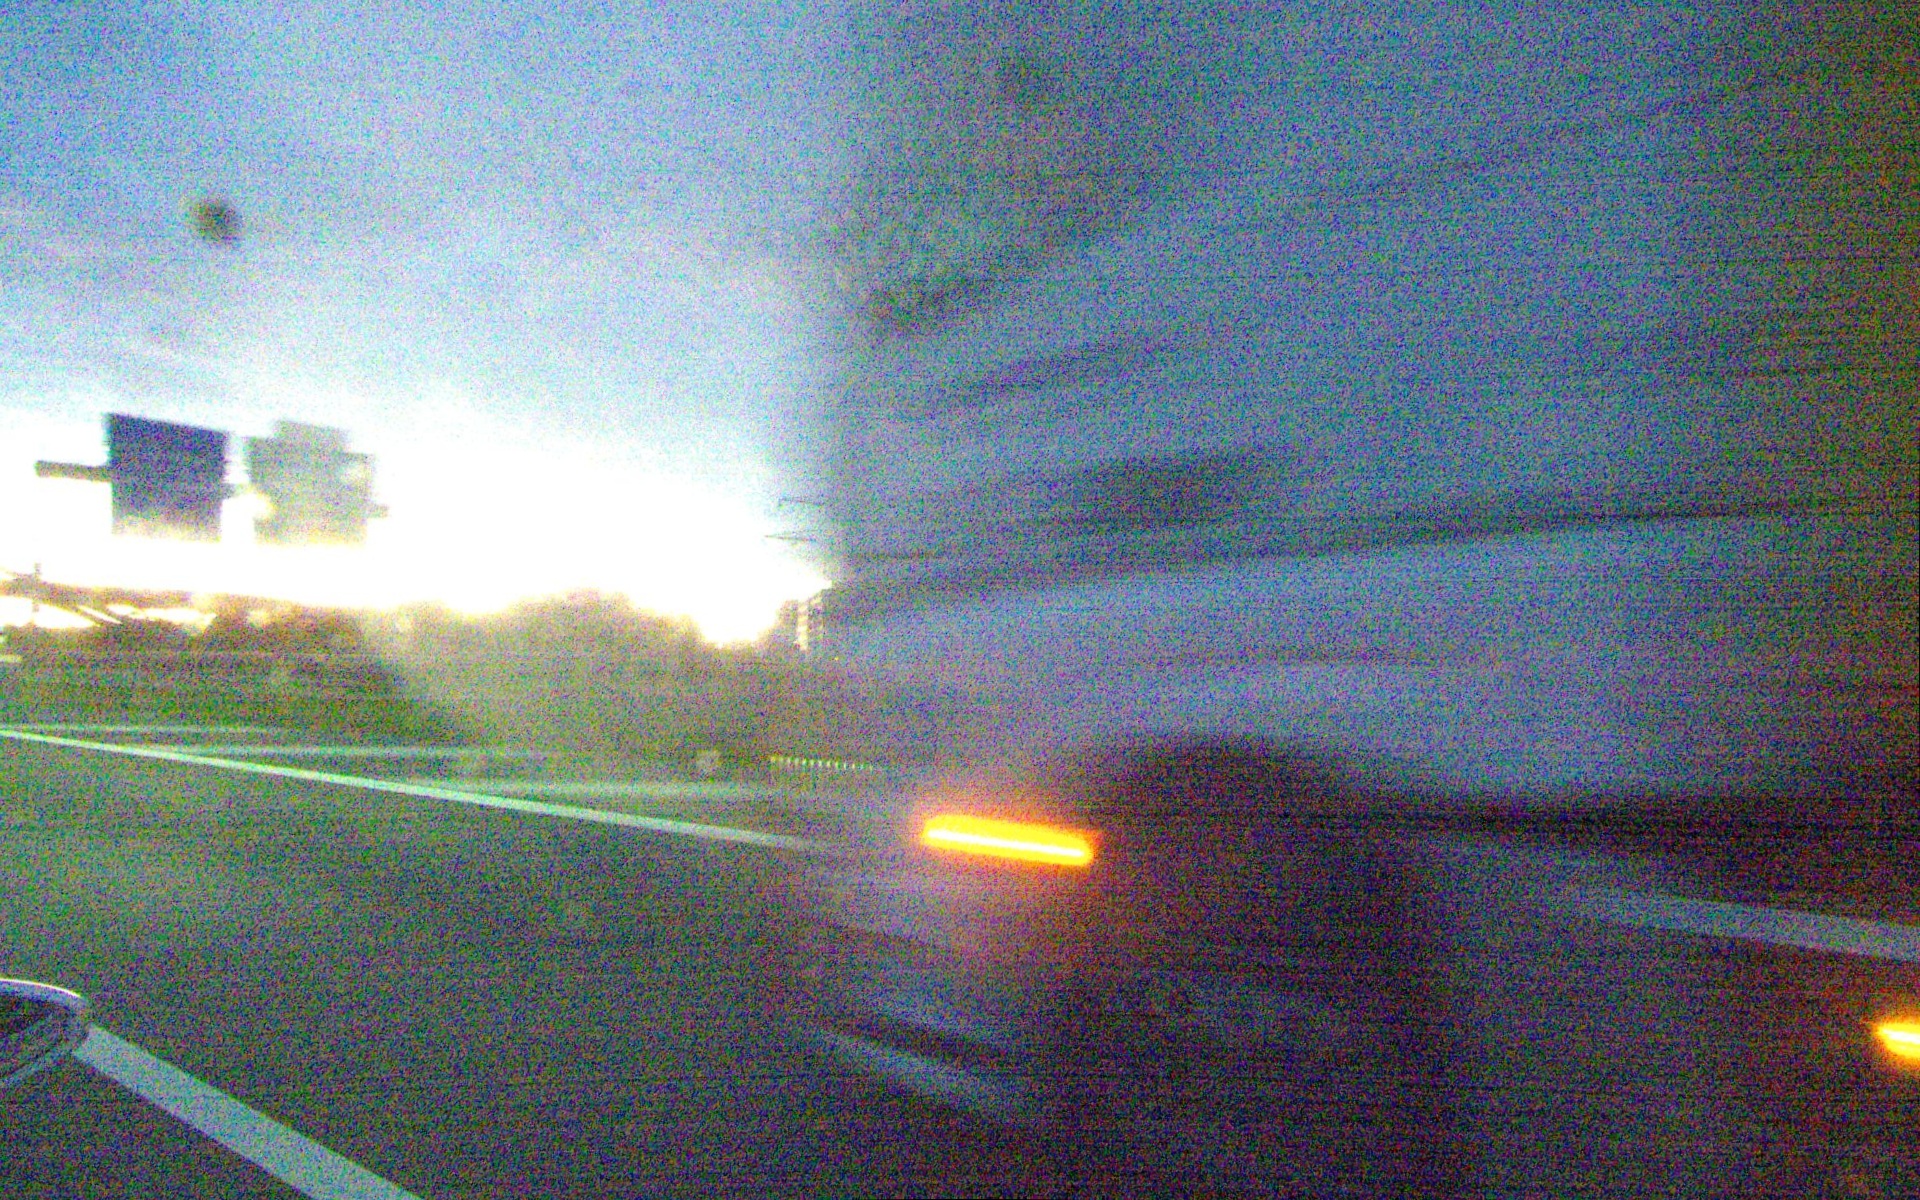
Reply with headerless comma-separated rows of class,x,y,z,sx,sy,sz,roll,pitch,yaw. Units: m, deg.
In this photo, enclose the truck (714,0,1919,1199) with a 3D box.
truck,4.433,-0.606,1.038,10.369,4.124,2.686,-1,-1,32
